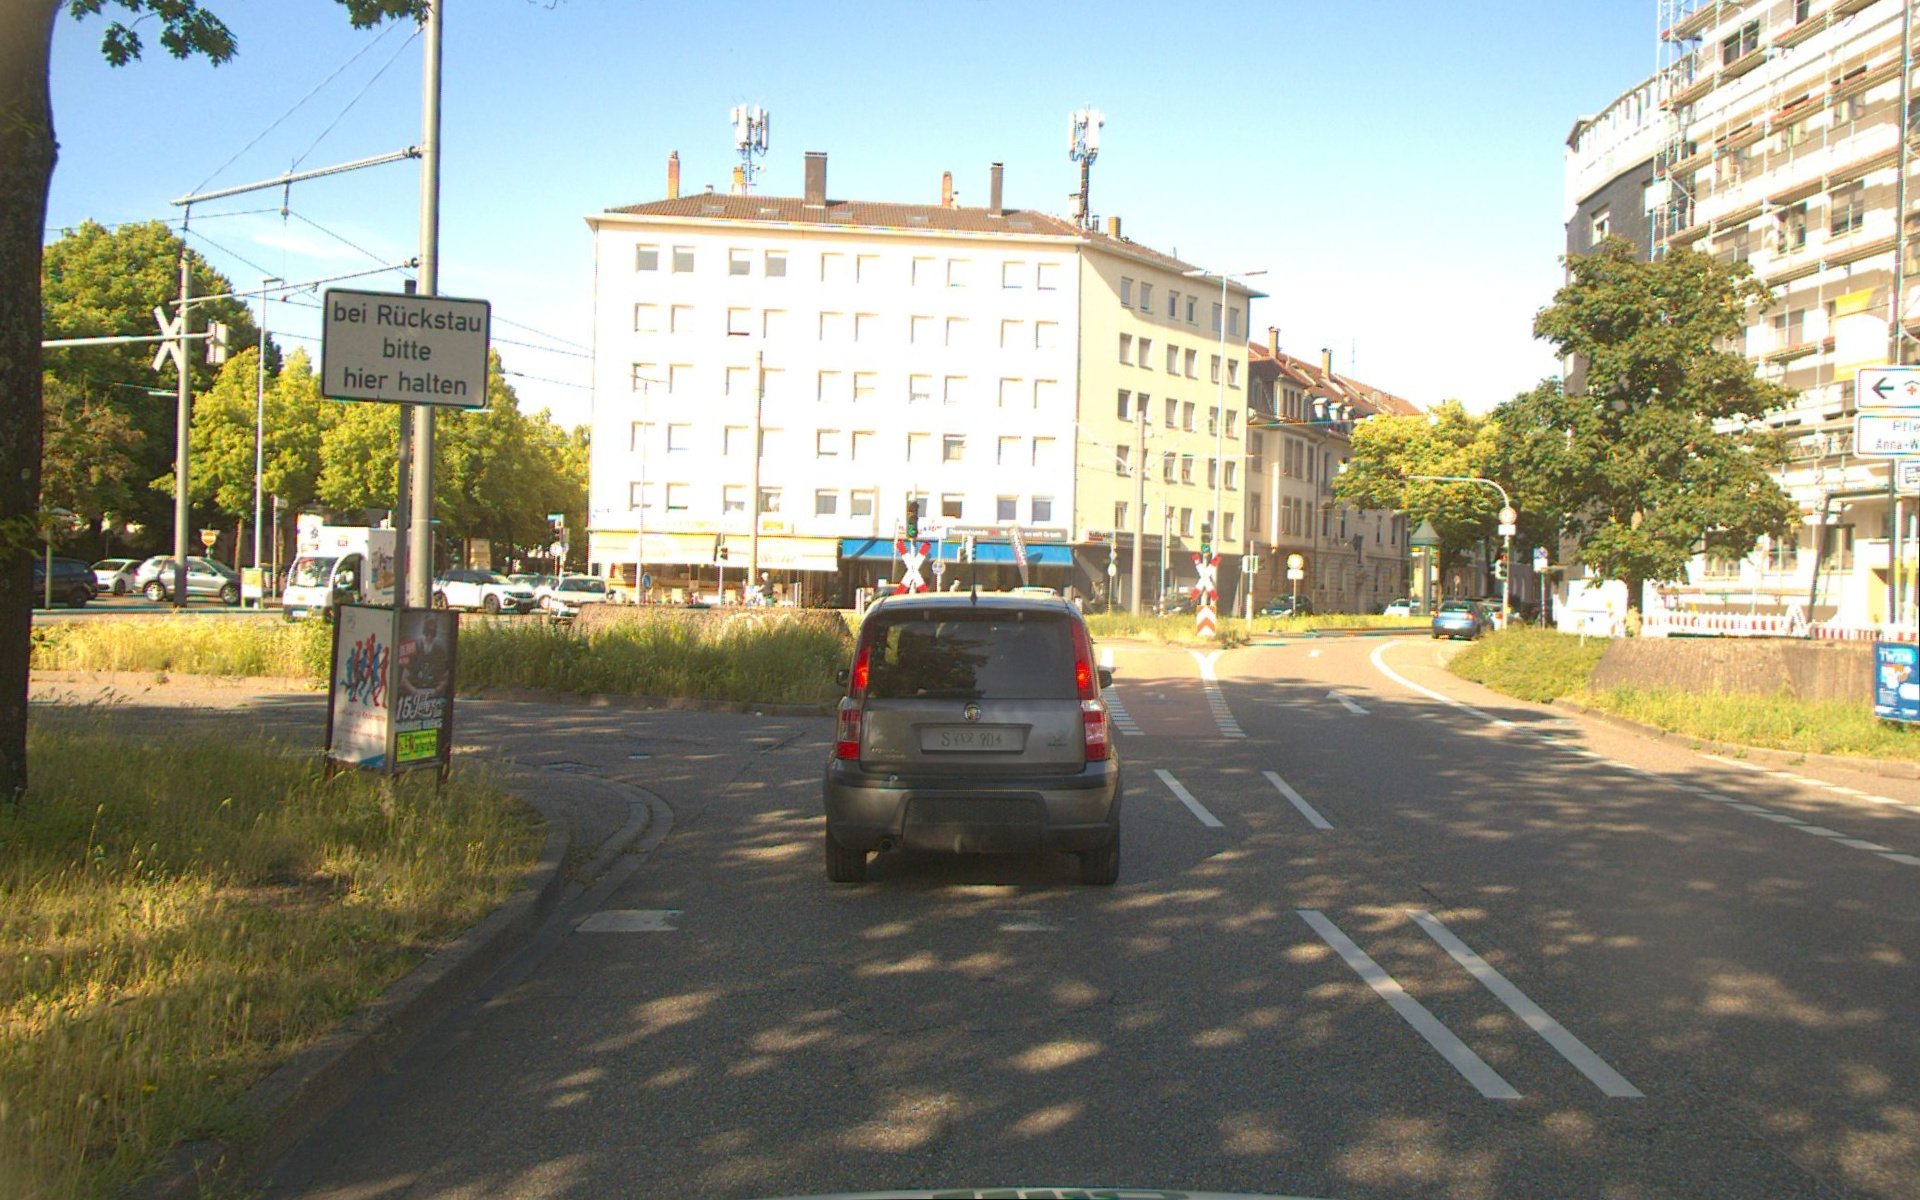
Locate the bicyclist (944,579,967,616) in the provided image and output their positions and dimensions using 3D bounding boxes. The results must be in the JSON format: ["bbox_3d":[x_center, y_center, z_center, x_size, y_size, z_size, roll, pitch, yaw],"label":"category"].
[{"bbox_3d":[-0.207,-0.104,71.968,0.804,1.586,0.562,1,0,22],"label":"bicyclist"}]

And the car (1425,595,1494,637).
[{"bbox_3d":[19.216,0.595,63.529,1.742,1.467,3.611,2,1,30],"label":"car"}]

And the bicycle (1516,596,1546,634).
[{"bbox_3d":[23.685,0.628,68.585,0.562,1.537,2.801,2,0,31],"label":"bicycle"}]

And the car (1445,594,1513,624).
[{"bbox_3d":[29.651,0.498,94.613,1.873,1.621,3.984,1,0,-15],"label":"car"}]

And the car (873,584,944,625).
[{"bbox_3d":[-1.771,0.131,55.914,1.662,1.275,3.612,2,0,-14],"label":"car"}]

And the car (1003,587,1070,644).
[{"bbox_3d":[2.039,0.391,44.886,1.612,1.463,3.396,2,0,0],"label":"car"}]

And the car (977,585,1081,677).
[{"bbox_3d":[1.299,0.512,30.183,1.723,1.512,4.295,1,0,3],"label":"car"}]

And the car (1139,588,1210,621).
[{"bbox_3d":[9.749,0.220,74.929,1.758,1.420,3.715,2,0,33],"label":"car"}]

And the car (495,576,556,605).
[{"bbox_3d":[-20.891,-0.454,79.652,1.953,1.333,3.998,1,0,-2],"label":"car"}]

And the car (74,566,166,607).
[{"bbox_3d":[-36.220,-0.579,71.421,1.724,1.645,4.227,2,1,1],"label":"car"}]

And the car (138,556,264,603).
[{"bbox_3d":[-28.265,-0.766,61.706,3.920,1.599,1.993,2,0,-14],"label":"car"}]

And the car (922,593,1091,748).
[{"bbox_3d":[0.417,0.686,17.982,1.588,1.454,3.687,1,0,-2],"label":"car"}]

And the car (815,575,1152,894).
[{"bbox_3d":[0.102,0.655,9.796,1.626,1.536,3.251,1,0,-1],"label":"car"}]

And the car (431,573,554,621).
[{"bbox_3d":[-16.936,-0.110,59.919,3.908,1.599,1.999,2,0,25],"label":"car"}]

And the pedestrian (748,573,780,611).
[{"bbox_3d":[-7.809,-0.324,65.908,0.921,1.452,0.772,2,-1,38],"label":"pedestrian"}]

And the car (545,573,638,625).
[{"bbox_3d":[-11.209,-0.034,50.577,1.628,1.474,4.404,2,0,3],"label":"car"}]

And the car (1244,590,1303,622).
[{"bbox_3d":[16.508,0.319,87.020,1.758,1.593,3.756,2,0,33],"label":"car"}]

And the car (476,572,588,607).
[{"bbox_3d":[-17.268,-0.421,66.799,3.903,1.264,2.001,2,0,5],"label":"car"}]

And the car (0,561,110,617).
[{"bbox_3d":[-27.845,-0.350,49.657,1.722,1.514,4.010,5,2,19],"label":"car"}]

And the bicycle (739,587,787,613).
[{"bbox_3d":[-7.855,-0.010,65.932,1.821,0.968,0.782,2,-1,38],"label":"bicycle"}]

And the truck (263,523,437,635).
[{"bbox_3d":[-14.324,-0.475,39.095,1.750,2.469,4.113,2,0,15],"label":"truck"}]

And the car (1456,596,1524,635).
[{"bbox_3d":[21.741,0.611,67.764,1.786,1.534,3.991,1,1,31],"label":"car"}]

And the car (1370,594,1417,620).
[{"bbox_3d":[26.373,0.441,100.598,1.758,1.508,3.522,2,0,33],"label":"car"}]
